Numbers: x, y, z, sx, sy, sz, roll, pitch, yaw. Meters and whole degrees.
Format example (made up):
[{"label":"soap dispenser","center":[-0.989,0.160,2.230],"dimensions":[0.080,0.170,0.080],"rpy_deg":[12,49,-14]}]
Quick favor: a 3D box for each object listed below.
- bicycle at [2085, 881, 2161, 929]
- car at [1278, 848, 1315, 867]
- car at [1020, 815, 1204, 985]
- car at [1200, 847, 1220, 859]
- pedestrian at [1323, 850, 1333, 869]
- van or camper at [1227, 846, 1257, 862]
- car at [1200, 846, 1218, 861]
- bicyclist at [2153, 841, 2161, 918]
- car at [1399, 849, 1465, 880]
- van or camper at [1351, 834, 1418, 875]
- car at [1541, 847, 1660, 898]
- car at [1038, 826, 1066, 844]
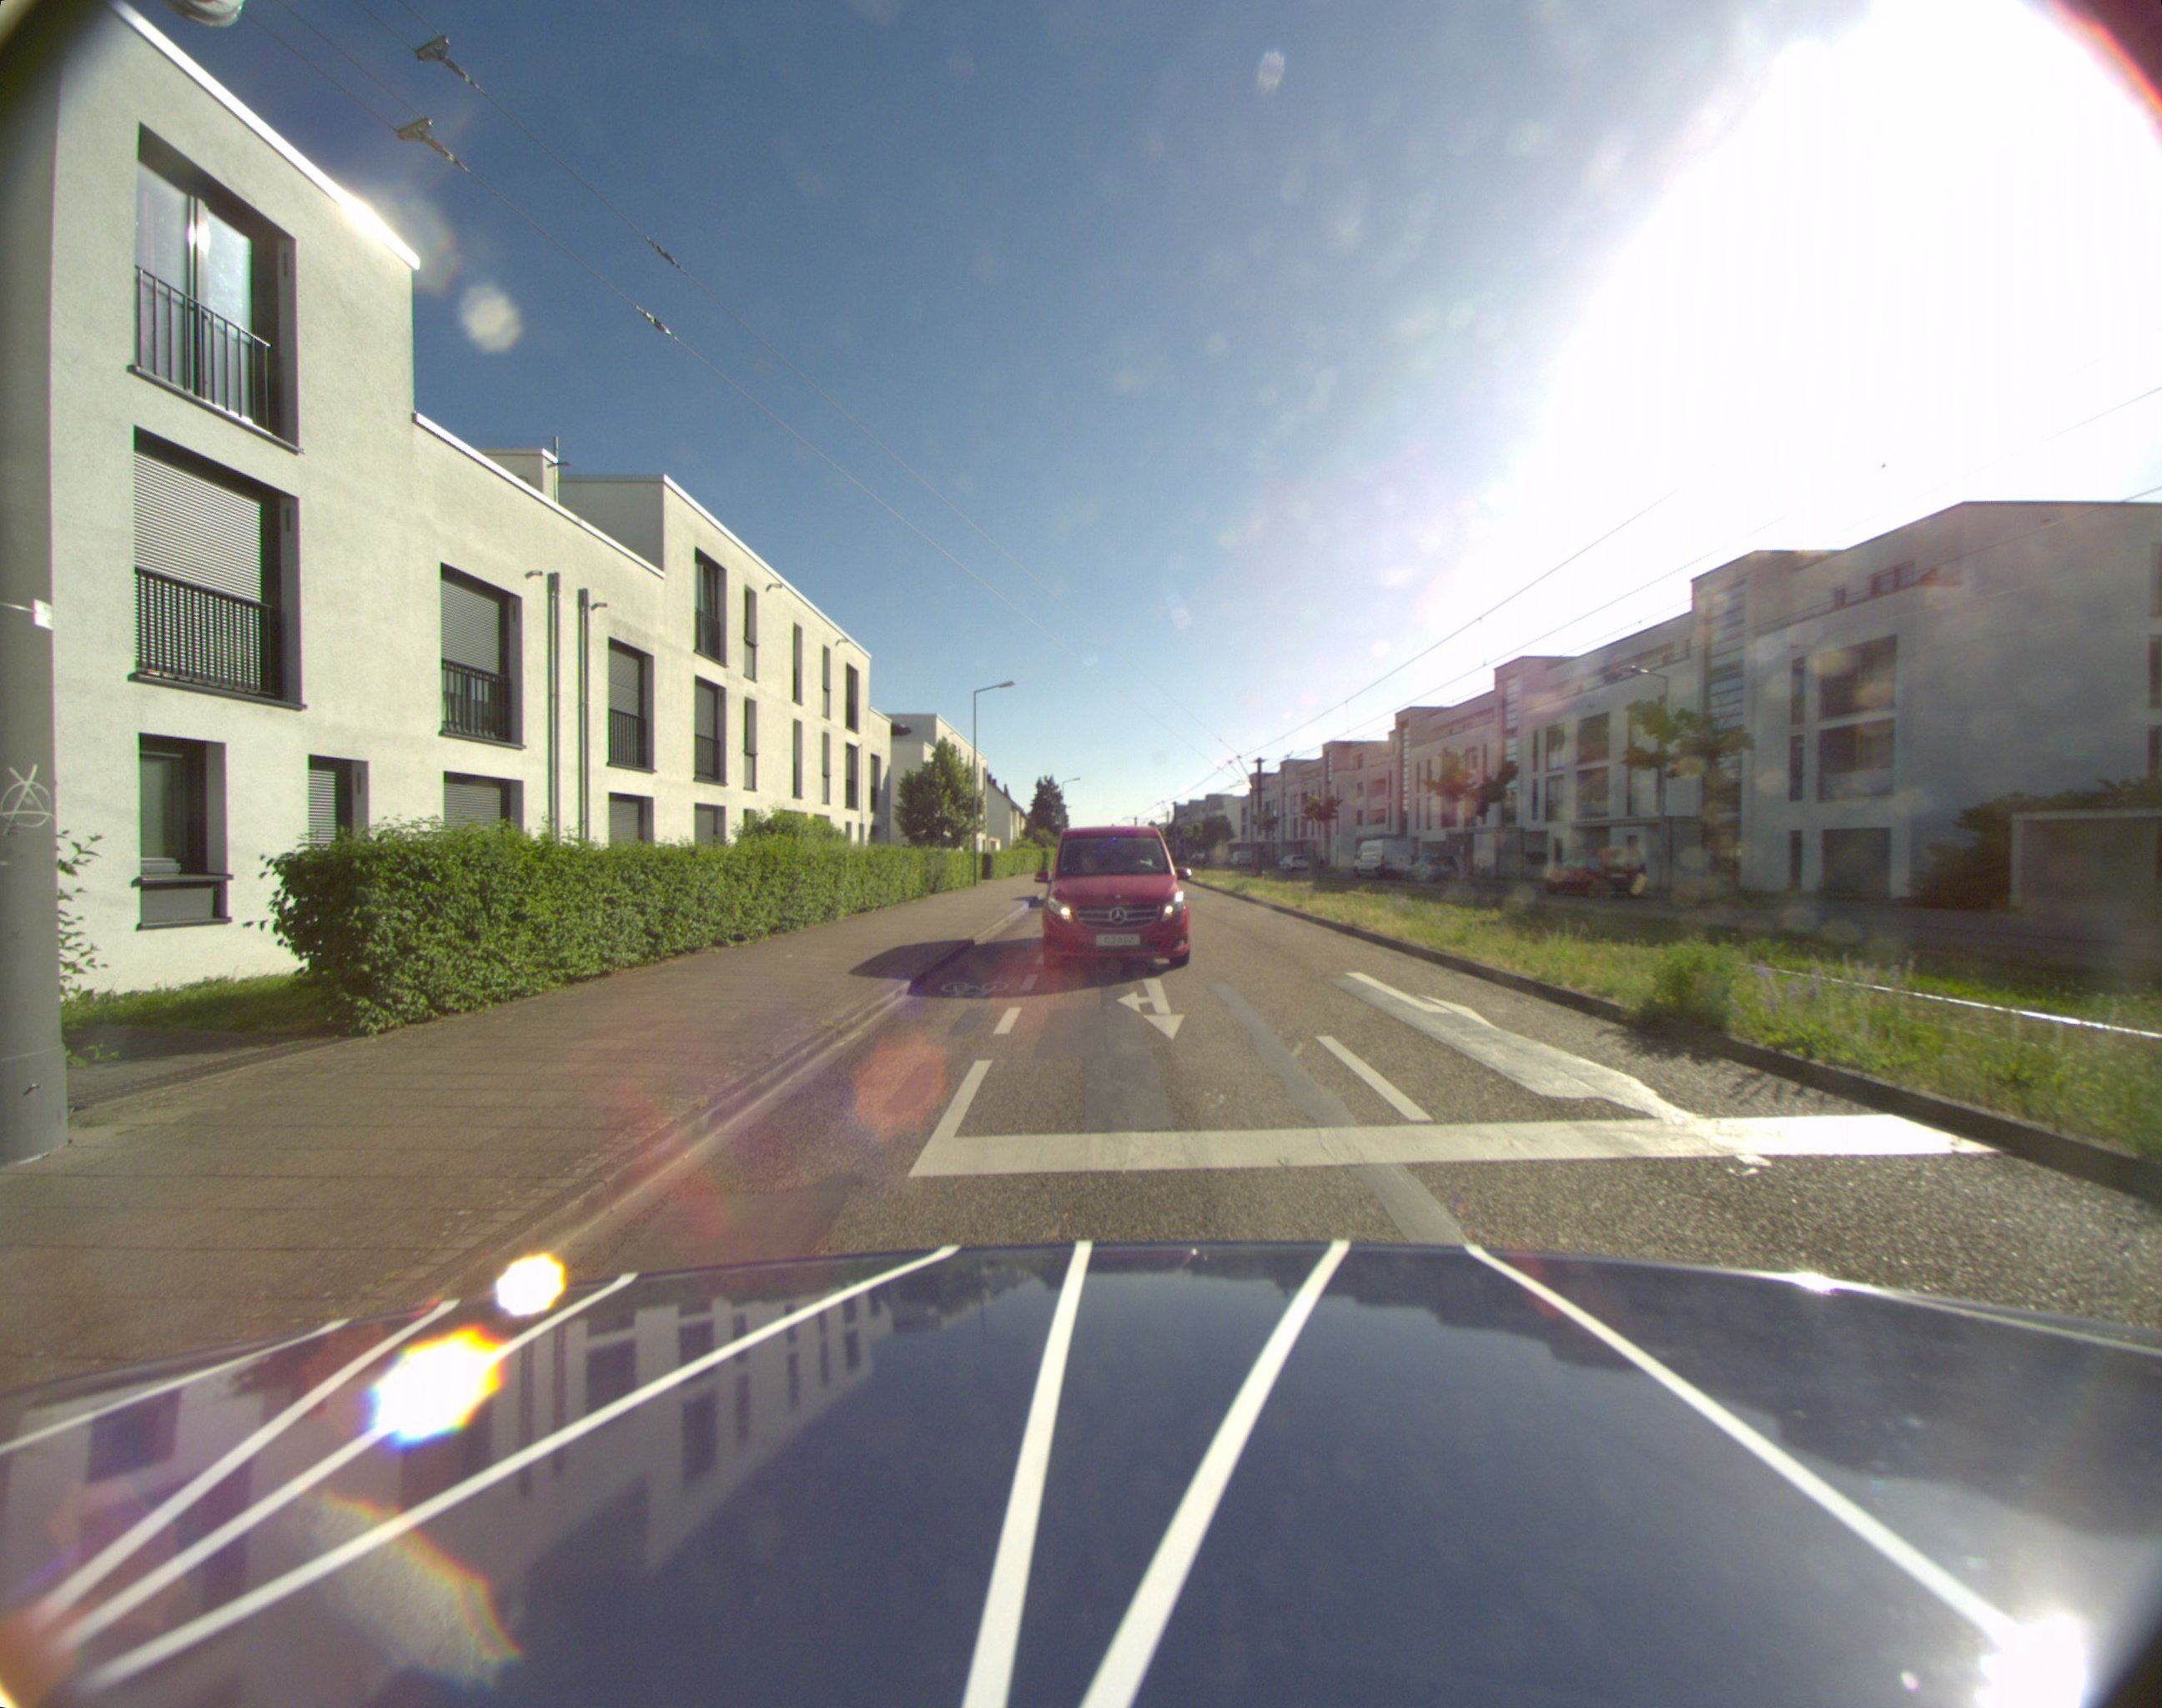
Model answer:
[{"label":"bicycle","center":[21.476,1.027,14.628],"dimensions":[0.902,0.887,2.482],"rpy_deg":[1,1,-4]},{"label":"car","center":[19.557,0.305,69.129],"dimensions":[2.046,1.577,4.120],"rpy_deg":[1,1,-1]},{"label":"car","center":[0.472,0.532,11.516],"dimensions":[2.127,1.958,5.084],"rpy_deg":[-2,0,2]},{"label":"car","center":[17.409,-0.184,102.492],"dimensions":[1.867,1.430,3.495],"rpy_deg":[-2,2,-3]},{"label":"pedestrian","center":[21.929,0.458,67.536],"dimensions":[0.619,1.634,0.612],"rpy_deg":[-2,1,-5]},{"label":"van or camper","center":[19.188,-0.061,90.718],"dimensions":[2.272,1.838,6.285],"rpy_deg":[0,1,0]},{"label":"car","center":[18.457,-0.080,109.406],"dimensions":[1.787,2.002,3.999],"rpy_deg":[-2,1,-2]},{"label":"bicyclist","center":[21.485,0.501,14.532],"dimensions":[0.891,1.482,0.745],"rpy_deg":[1,1,-4]},{"label":"car","center":[19.274,0.558,41.876],"dimensions":[1.934,1.604,3.836],"rpy_deg":[1,1,1]},{"label":"van or camper","center":[19.306,-0.002,48.624],"dimensions":[2.197,2.450,5.259],"rpy_deg":[1,1,1]},{"label":"car","center":[19.094,0.612,28.153],"dimensions":[1.793,1.713,3.908],"rpy_deg":[2,1,3]},{"label":"car","center":[-3.953,-2.560,104.442],"dimensions":[3.182,2.333,6.175],"rpy_deg":[-2,1,3]}]
